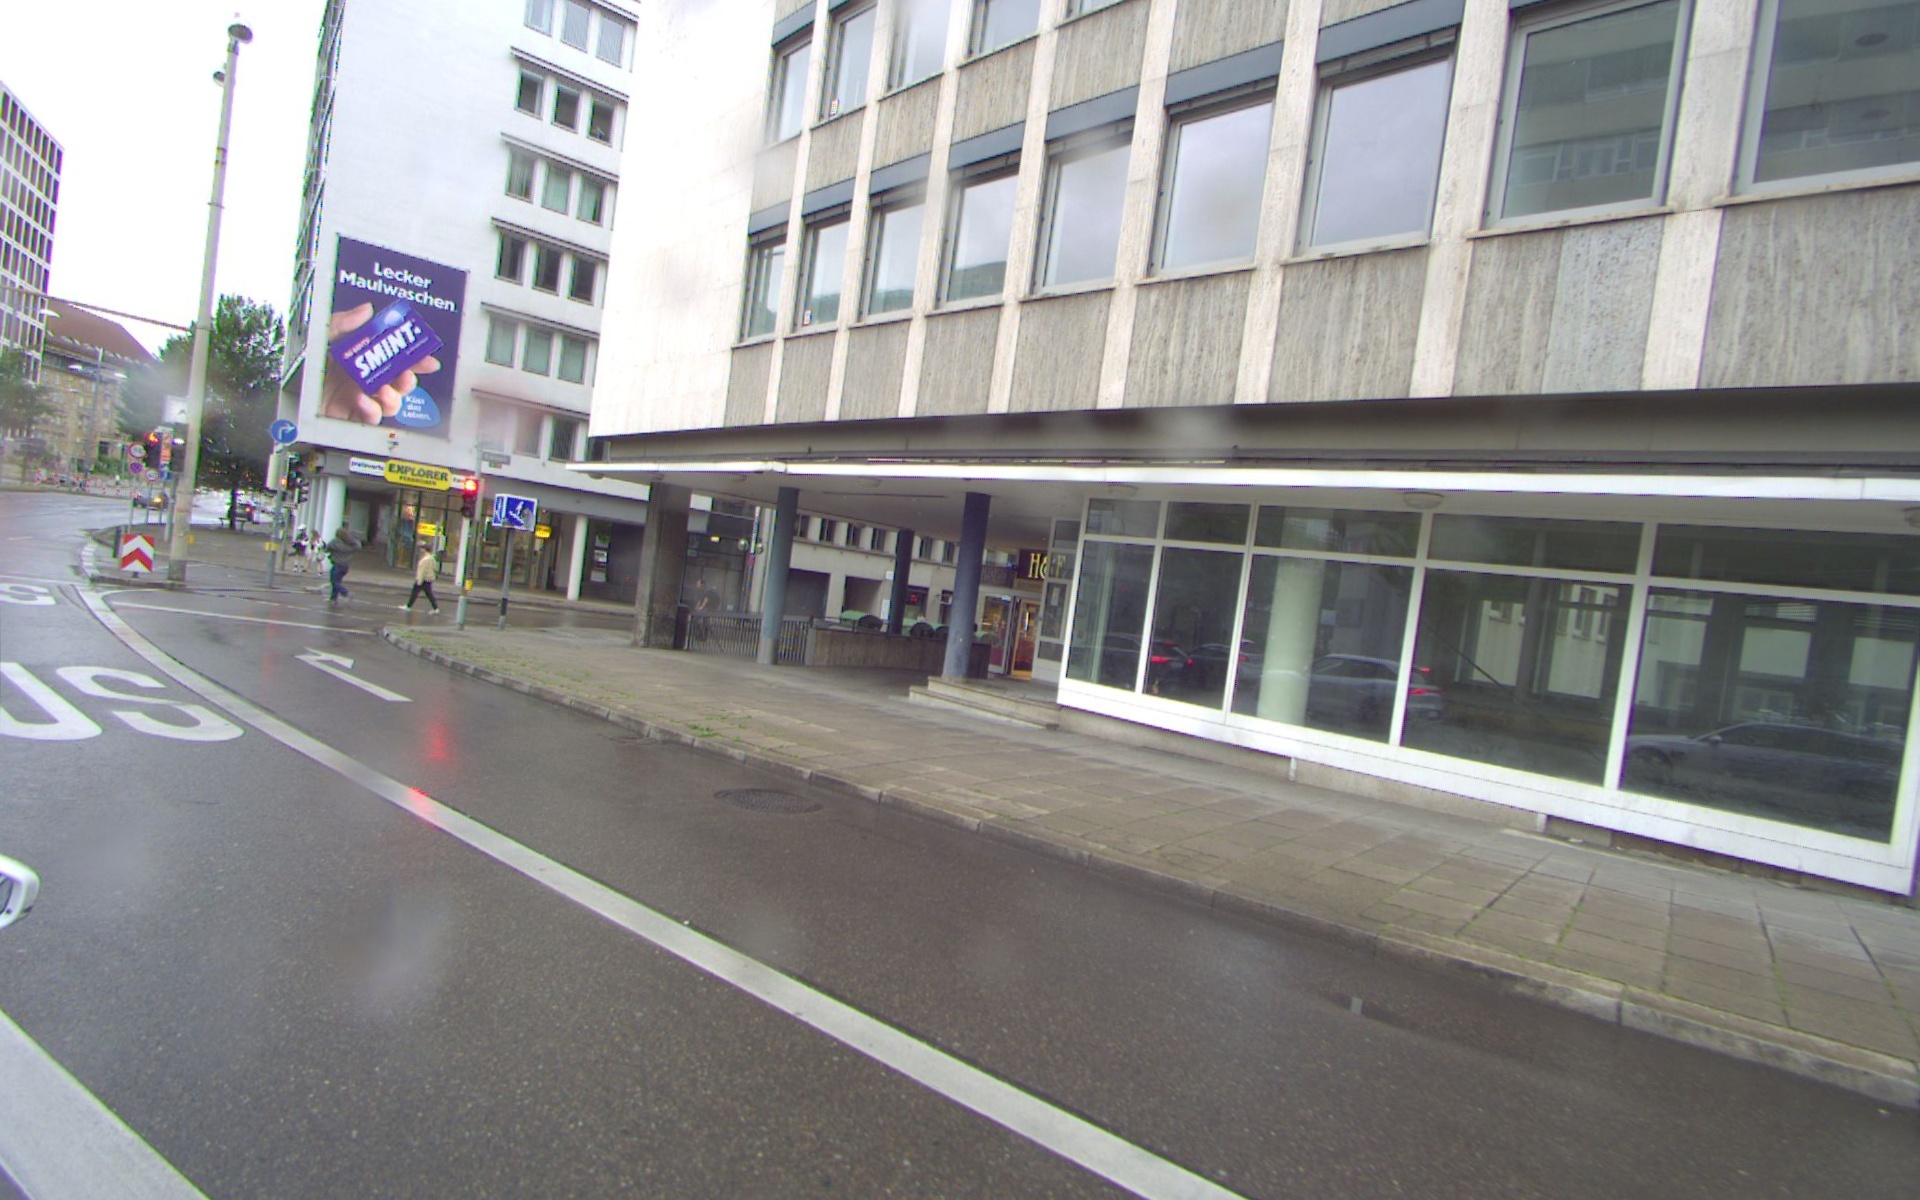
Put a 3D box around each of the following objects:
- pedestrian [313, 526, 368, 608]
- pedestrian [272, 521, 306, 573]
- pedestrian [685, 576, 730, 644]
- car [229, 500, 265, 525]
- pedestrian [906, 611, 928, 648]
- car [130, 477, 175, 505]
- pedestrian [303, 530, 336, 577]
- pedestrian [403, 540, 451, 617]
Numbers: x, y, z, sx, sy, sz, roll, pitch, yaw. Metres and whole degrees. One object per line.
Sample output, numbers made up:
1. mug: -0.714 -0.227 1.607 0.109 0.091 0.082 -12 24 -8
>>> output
1. pedestrian: -14.626 -0.782 23.759 0.810 1.820 0.702 7 1 -43
2. pedestrian: -23.322 -1.844 34.962 0.725 1.688 0.682 7 0 -43
3. pedestrian: -7.127 0.288 28.385 1.002 1.776 0.793 7 -1 -14
4. car: -63.791 -7.803 90.053 2.032 1.786 4.324 9 -2 -29
5. pedestrian: -2.246 1.538 52.271 0.677 1.820 0.722 7 0 -37
6. car: -60.813 -8.170 75.823 1.897 1.527 4.321 9 -2 -31
7. pedestrian: -22.422 -1.639 35.229 0.725 1.542 0.751 7 0 -43
8. pedestrian: -13.429 -0.551 25.339 0.725 1.820 0.730 7 1 -43
